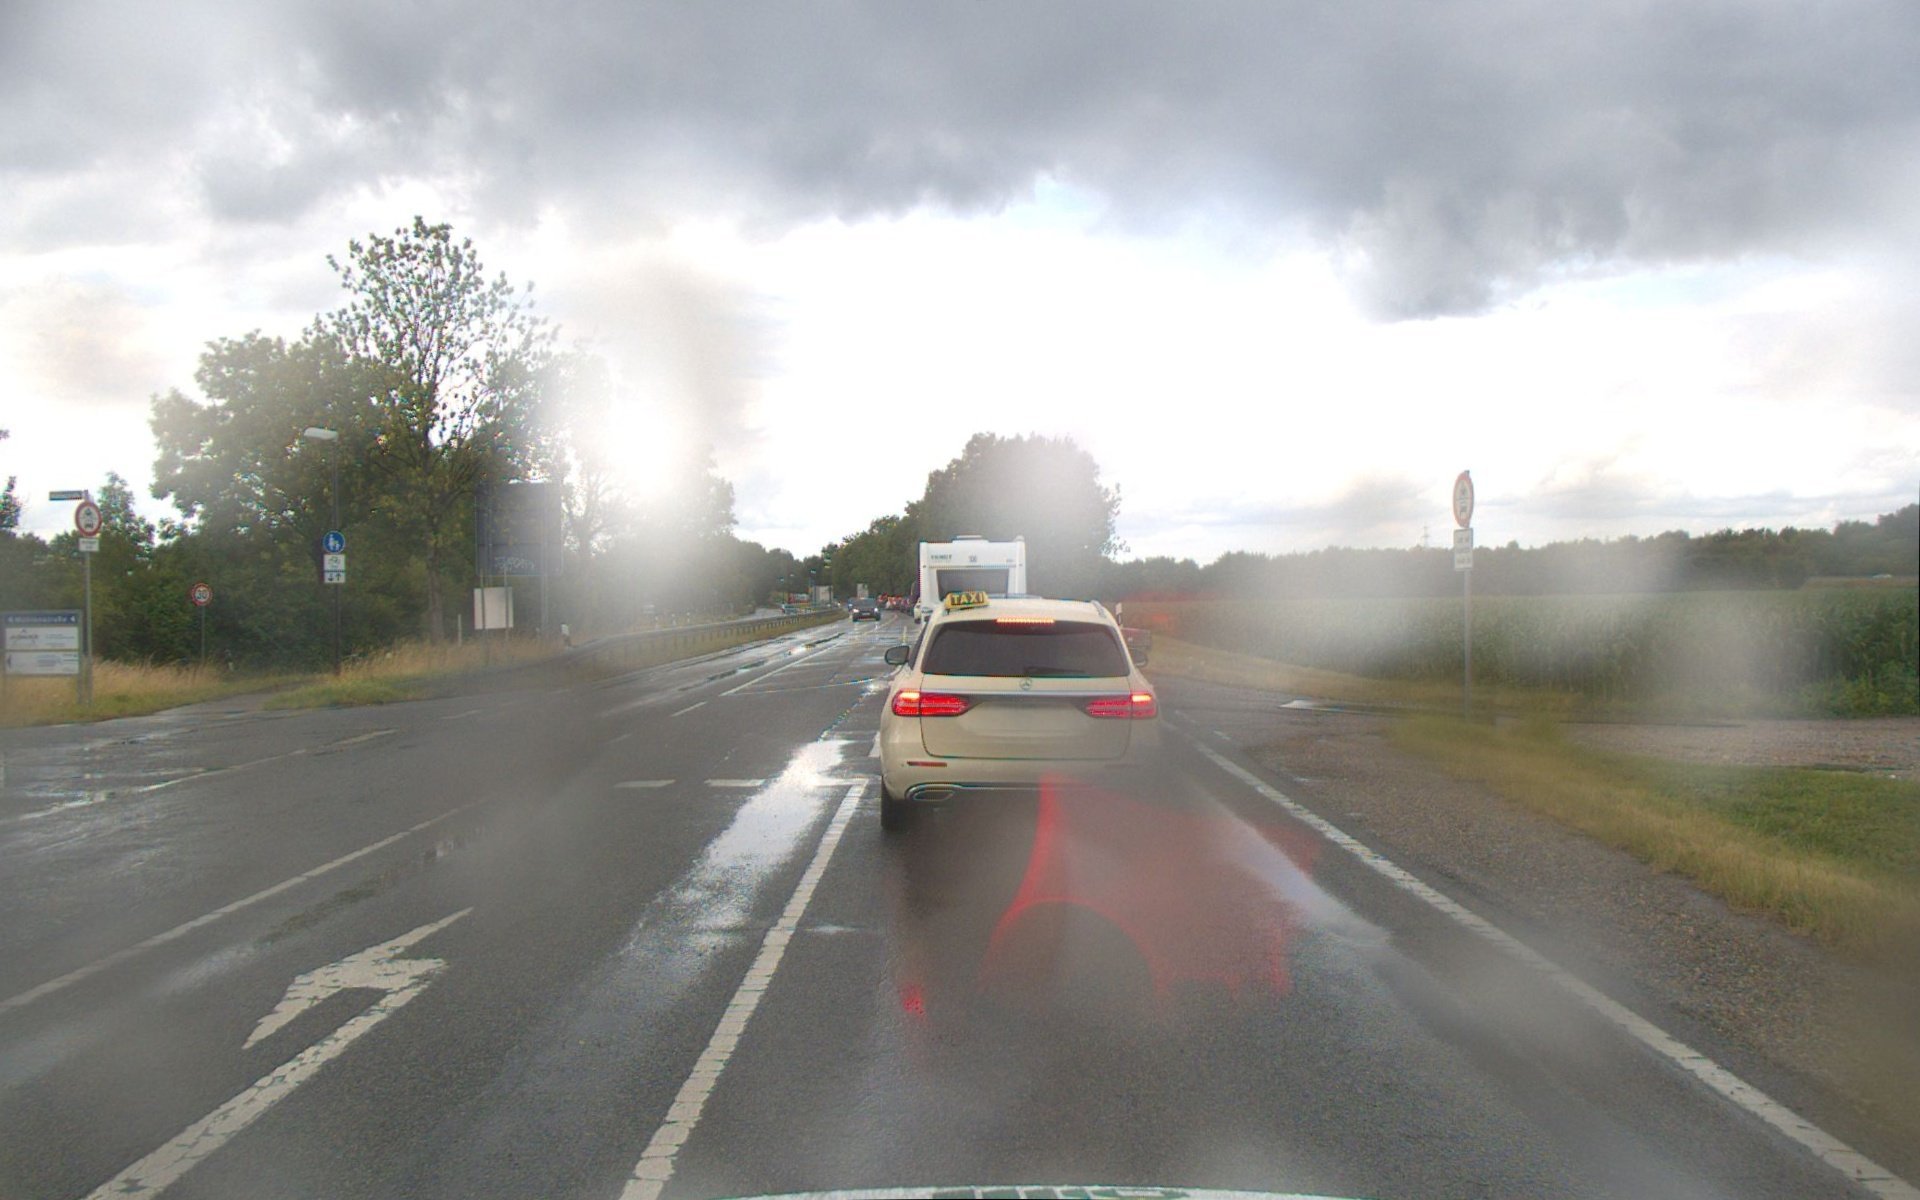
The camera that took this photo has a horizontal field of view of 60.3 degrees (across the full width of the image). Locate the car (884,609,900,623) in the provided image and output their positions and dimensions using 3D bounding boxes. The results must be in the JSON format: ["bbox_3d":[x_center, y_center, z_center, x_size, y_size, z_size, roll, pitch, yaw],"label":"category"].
[{"bbox_3d":[-8.312,1.930,201.375,1.714,1.691,3.668,-1,0,-5],"label":"car"}]

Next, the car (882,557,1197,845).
[{"bbox_3d":[0.433,0.583,11.545,1.805,1.646,3.999,1,0,-1],"label":"car"}]

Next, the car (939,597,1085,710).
[{"bbox_3d":[0.688,0.742,24.712,1.953,1.488,3.999,2,0,-1],"label":"car"}]

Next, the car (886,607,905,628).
[{"bbox_3d":[-6.428,1.698,165.395,1.814,2.049,3.810,-1,0,-1],"label":"car"}]

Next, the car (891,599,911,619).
[{"bbox_3d":[-5.593,0.862,156.791,1.841,1.792,3.833,-1,0,-1],"label":"car"}]

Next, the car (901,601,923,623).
[{"bbox_3d":[-3.983,1.001,138.078,1.755,1.808,3.720,-1,0,-1],"label":"car"}]

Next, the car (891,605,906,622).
[{"bbox_3d":[-7.095,1.580,191.219,1.705,1.892,3.784,-1,0,-1],"label":"car"}]

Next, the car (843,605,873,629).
[{"bbox_3d":[-6.886,1.130,111.950,1.791,1.601,3.999,1,0,0],"label":"car"}]

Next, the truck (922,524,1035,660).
[{"bbox_3d":[0.337,-0.170,37.975,2.315,2.776,7.313,-1,0,-1],"label":"truck"}]

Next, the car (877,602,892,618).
[{"bbox_3d":[-9.591,1.284,209.250,1.858,1.928,3.840,-1,0,-4],"label":"car"}]

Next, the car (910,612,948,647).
[{"bbox_3d":[-1.735,1.646,93.195,1.875,1.873,3.797,-1,0,3],"label":"car"}]

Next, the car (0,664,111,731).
[{"bbox_3d":[-26.311,2.695,46.294,2.253,1.574,4.636,1,0,7],"label":"car"}]
